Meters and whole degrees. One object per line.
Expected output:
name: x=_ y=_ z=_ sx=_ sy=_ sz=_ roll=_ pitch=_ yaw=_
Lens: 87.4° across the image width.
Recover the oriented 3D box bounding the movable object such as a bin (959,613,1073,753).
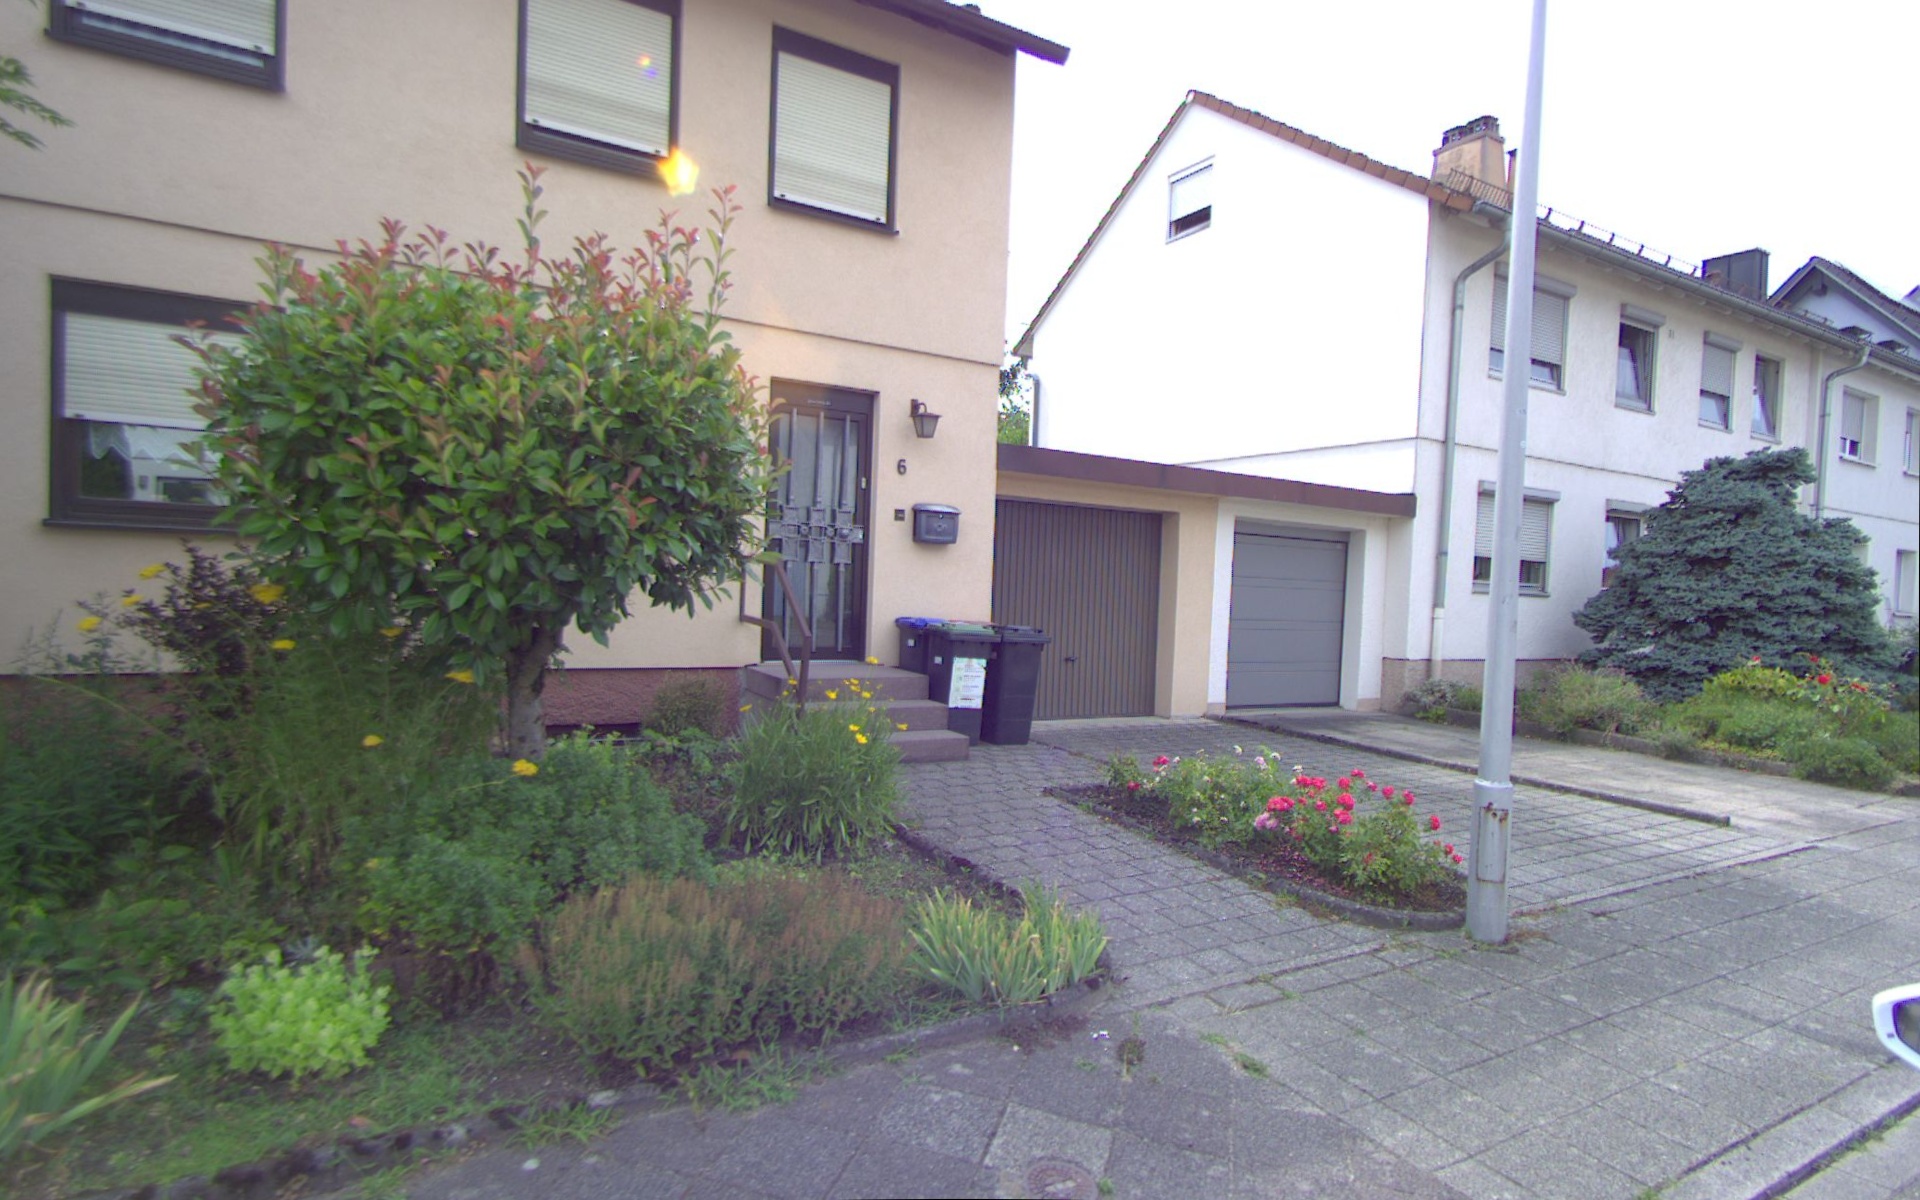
movable object such as a bin: x=0.441 y=0.637 z=8.039 sx=0.625 sy=1.035 sz=0.649 roll=1 pitch=1 yaw=-30

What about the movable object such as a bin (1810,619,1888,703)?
movable object such as a bin: x=14.093 y=0.951 z=15.927 sx=0.726 sy=1.256 sz=0.693 roll=1 pitch=1 yaw=-30

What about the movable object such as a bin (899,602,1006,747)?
movable object such as a bin: x=-0.064 y=0.551 z=7.739 sx=0.535 sy=1.016 sz=0.649 roll=1 pitch=3 yaw=-30

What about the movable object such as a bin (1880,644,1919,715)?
movable object such as a bin: x=14.355 y=1.184 z=15.054 sx=0.591 sy=1.021 sz=0.672 roll=1 pitch=1 yaw=-30
